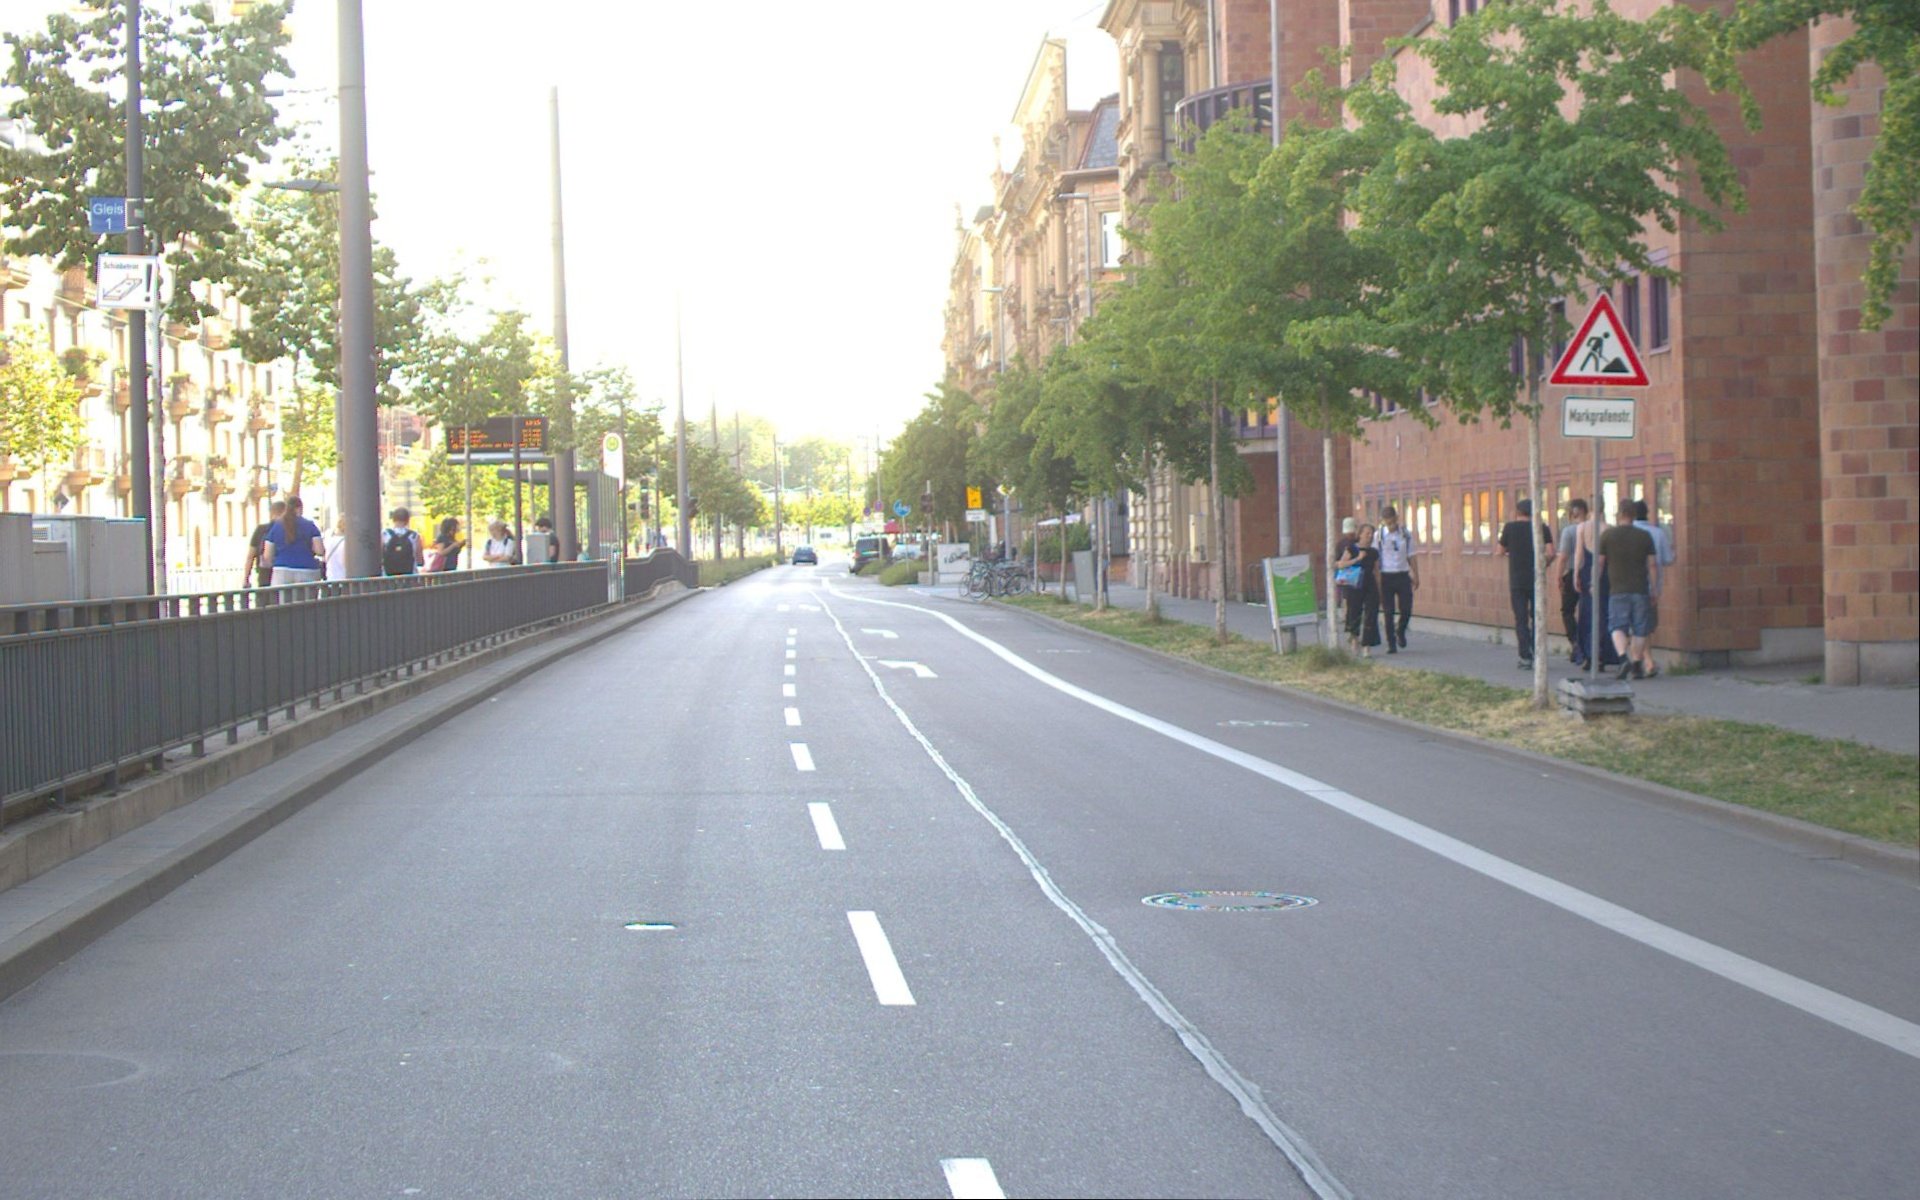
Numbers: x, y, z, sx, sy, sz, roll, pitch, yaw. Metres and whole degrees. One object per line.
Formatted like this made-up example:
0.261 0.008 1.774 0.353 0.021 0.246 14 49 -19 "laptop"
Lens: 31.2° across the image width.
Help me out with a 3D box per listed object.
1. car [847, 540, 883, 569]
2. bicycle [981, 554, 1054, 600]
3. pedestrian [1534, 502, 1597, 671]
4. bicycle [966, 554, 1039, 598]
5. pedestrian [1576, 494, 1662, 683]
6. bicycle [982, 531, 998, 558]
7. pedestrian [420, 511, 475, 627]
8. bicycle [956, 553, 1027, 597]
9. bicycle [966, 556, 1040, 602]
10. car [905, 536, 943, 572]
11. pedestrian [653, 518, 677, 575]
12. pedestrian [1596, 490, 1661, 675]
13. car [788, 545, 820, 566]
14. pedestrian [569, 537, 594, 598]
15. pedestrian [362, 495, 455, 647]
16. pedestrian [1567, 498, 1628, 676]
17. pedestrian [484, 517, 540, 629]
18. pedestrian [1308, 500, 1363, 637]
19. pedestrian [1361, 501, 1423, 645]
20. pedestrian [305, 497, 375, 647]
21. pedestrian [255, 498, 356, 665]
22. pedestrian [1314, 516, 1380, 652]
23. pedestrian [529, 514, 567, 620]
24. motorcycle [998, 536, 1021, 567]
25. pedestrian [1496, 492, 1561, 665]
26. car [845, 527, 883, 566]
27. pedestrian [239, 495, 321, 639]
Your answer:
-5.261 -2.537 190.566 1.849 1.452 4.157 -2 2 -1 "car"
1.534 -0.619 91.954 1.825 1.061 0.664 -4 2 -7 "bicycle"
6.359 -0.145 36.127 0.536 1.750 0.422 -1 1 -2 "pedestrian"
1.151 -0.656 93.326 1.825 1.061 0.664 -4 2 -7 "bicycle"
6.205 -0.112 32.378 0.733 1.750 0.695 -1 1 9 "pedestrian"
1.597 -2.954 183.931 0.661 1.397 2.353 -2 2 -3 "bicycle"
-7.775 -0.474 52.191 0.719 1.726 0.651 -2 1 -3 "pedestrian"
0.869 -0.698 94.791 1.825 1.061 0.664 -4 2 -7 "bicycle"
1.134 -0.560 90.568 1.825 1.061 0.664 -4 2 -7 "bicycle"
-1.679 -2.150 160.768 1.637 1.481 4.212 -3 2 0 "car"
-8.661 -1.567 100.893 0.654 1.637 0.867 -1 0 -2 "pedestrian"
6.432 -0.174 33.094 0.536 1.750 0.695 -1 1 8 "pedestrian"
-11.269 -3.222 248.382 1.798 1.459 3.999 -2 1 5 "car"
-7.438 -0.641 67.487 0.406 1.186 0.430 -1 1 -15 "pedestrian"
-6.209 -0.328 38.744 0.887 1.666 1.096 -2 1 -4 "pedestrian"
6.362 -0.132 34.330 0.536 1.750 0.695 -1 1 8 "pedestrian"
-6.366 -0.392 48.912 0.673 1.556 0.906 -2 1 -3 "pedestrian"
4.862 -0.411 44.523 0.536 1.750 0.422 -2 1 -16 "pedestrian"
5.225 -0.330 41.596 0.571 1.707 0.641 -2 1 -7 "pedestrian"
-7.016 -0.315 38.920 0.656 1.666 0.672 -2 1 -4 "pedestrian"
-6.677 -0.192 35.083 0.887 1.666 0.672 -2 1 -4 "pedestrian"
4.605 -0.193 40.893 0.516 1.600 0.705 -2 1 -15 "pedestrian"
-6.541 -0.526 54.605 0.505 1.673 0.651 -1 1 -3 "pedestrian"
2.226 -2.182 155.666 0.795 1.304 2.852 -4 2 -2 "motorcycle"
5.854 -0.224 35.409 0.536 1.750 0.465 -2 1 -3 "pedestrian"
-4.934 -2.767 176.881 1.885 1.930 4.474 0 2 -1 "car"
-7.108 -0.349 35.951 0.682 1.478 0.829 -1 1 -1 "pedestrian"
